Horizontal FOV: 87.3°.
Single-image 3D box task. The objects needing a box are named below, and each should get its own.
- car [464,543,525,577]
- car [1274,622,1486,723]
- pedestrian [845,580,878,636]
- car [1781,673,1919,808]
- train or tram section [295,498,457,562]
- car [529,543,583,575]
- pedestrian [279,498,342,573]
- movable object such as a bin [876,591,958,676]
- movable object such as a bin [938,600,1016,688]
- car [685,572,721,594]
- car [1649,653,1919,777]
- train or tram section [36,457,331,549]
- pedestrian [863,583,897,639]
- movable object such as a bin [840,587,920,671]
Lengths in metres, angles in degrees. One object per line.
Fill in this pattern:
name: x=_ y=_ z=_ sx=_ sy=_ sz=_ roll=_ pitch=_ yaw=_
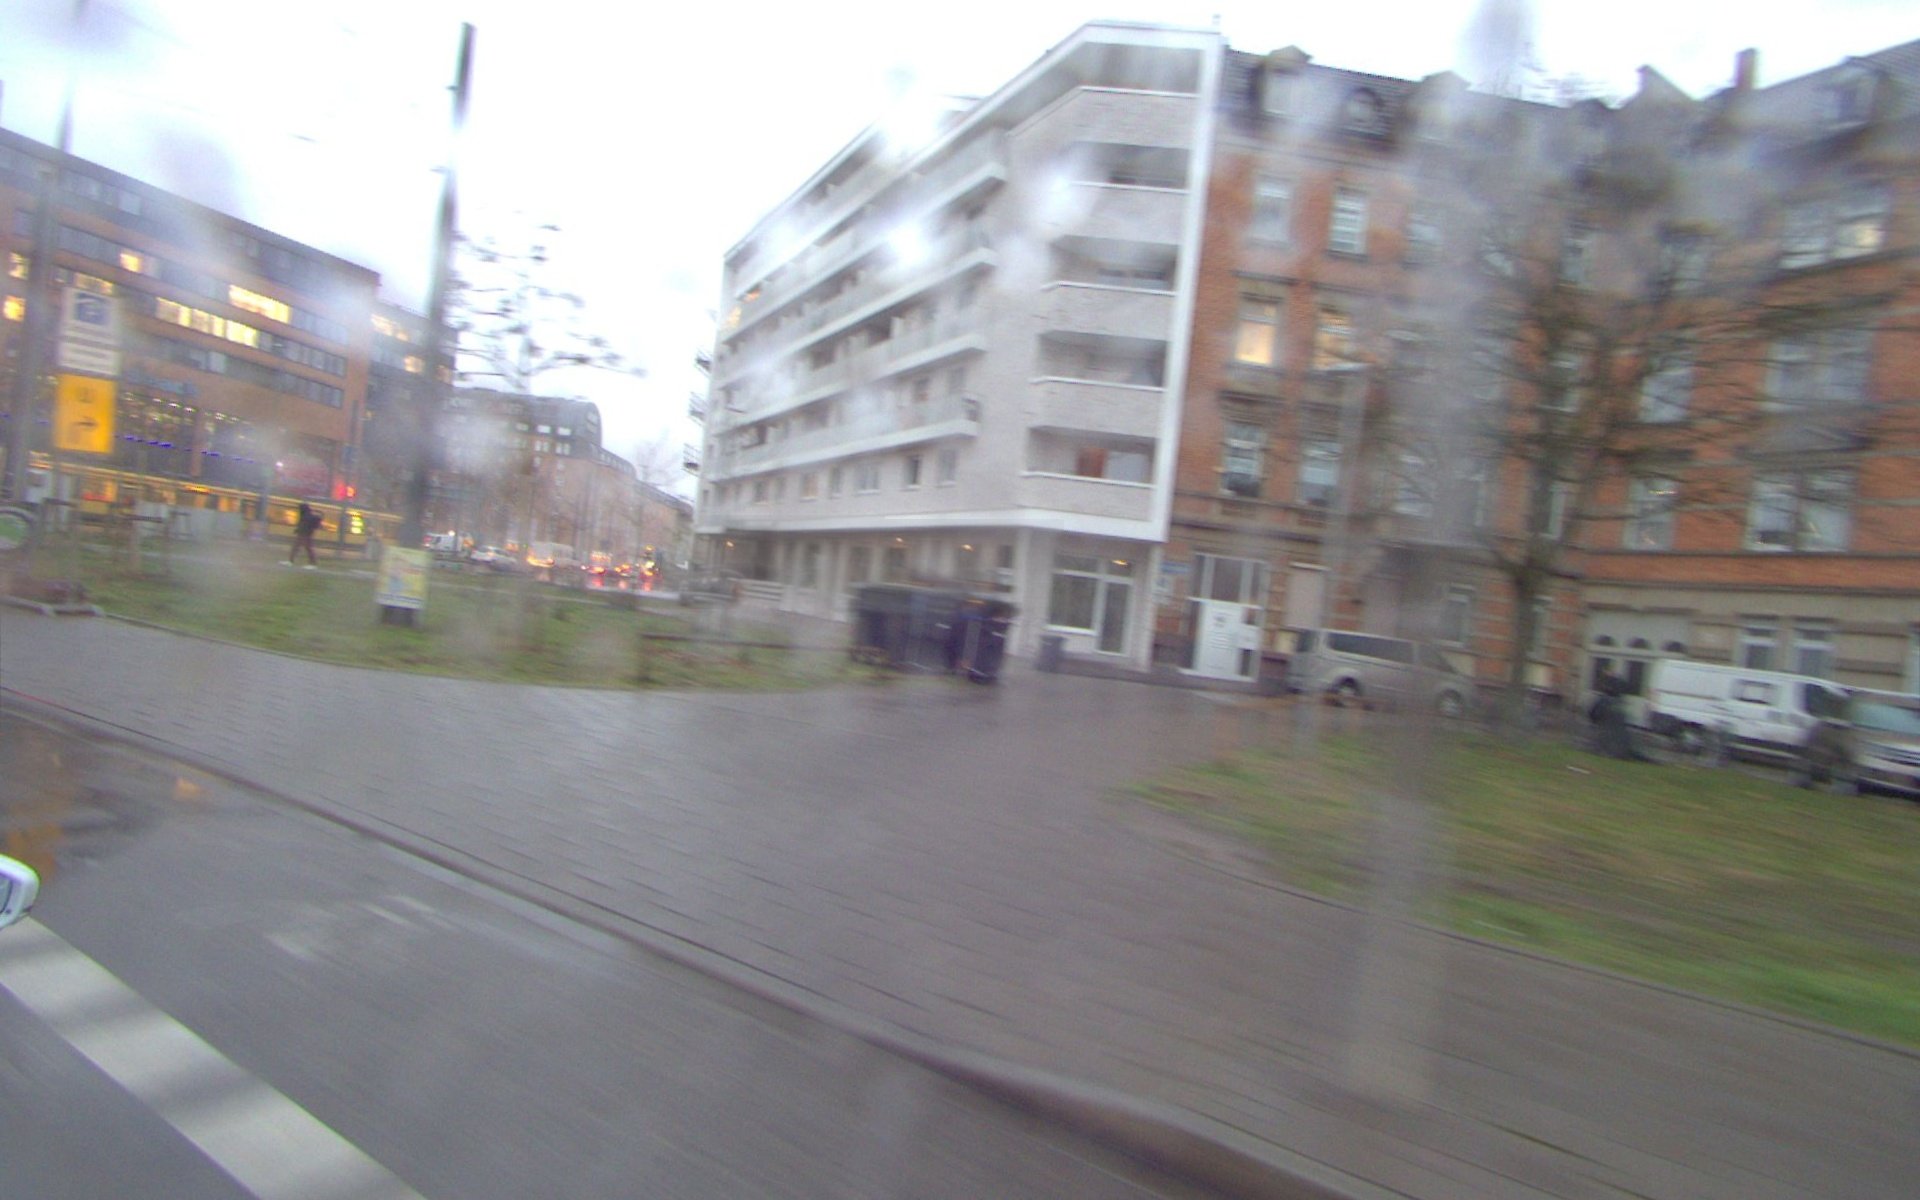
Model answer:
car: x=-36.545 y=-3.124 z=79.091 sx=1.962 sy=2.036 sz=4.005 roll=7 pitch=-2 yaw=16
car: x=11.120 y=1.897 z=26.851 sx=4.664 sy=1.940 sz=2.001 roll=8 pitch=-2 yaw=-3
pedestrian: x=-3.230 y=0.251 z=32.966 sx=0.671 sy=1.733 sz=0.600 roll=9 pitch=-2 yaw=-34
car: x=13.982 y=2.049 z=14.948 sx=1.911 sy=1.657 sz=3.992 roll=6 pitch=0 yaw=29
train or tram section: x=-43.466 y=-5.069 z=75.732 sx=2.292 sy=3.300 sz=13.007 roll=7 pitch=0 yaw=11
car: x=-34.907 y=-3.479 z=86.990 sx=1.962 sy=2.036 sz=4.956 roll=8 pitch=-2 yaw=7
pedestrian: x=-18.565 y=-1.834 z=28.751 sx=1.166 sy=1.946 sz=0.888 roll=9 pitch=-2 yaw=-41
movable object such as a bin: x=-0.821 y=0.624 z=18.956 sx=1.004 sy=1.434 sz=1.216 roll=5 pitch=1 yaw=-27
movable object such as a bin: x=0.305 y=0.822 z=19.185 sx=1.022 sy=1.507 sz=1.037 roll=8 pitch=-2 yaw=-18
car: x=-26.407 y=-1.734 z=103.397 sx=1.962 sy=1.600 sz=4.094 roll=8 pitch=-2 yaw=10
car: x=19.109 y=2.540 z=23.081 sx=1.980 sy=2.039 sz=4.941 roll=5 pitch=1 yaw=-34
train or tram section: x=-46.230 y=-5.551 z=61.398 sx=2.292 sy=3.300 sz=16.668 roll=7 pitch=0 yaw=11
pedestrian: x=-2.654 y=0.364 z=33.400 sx=0.672 sy=1.733 sz=0.624 roll=9 pitch=-2 yaw=-34
movable object such as a bin: x=-1.611 y=0.567 z=20.087 sx=1.019 sy=1.513 sz=1.320 roll=7 pitch=0 yaw=-27
